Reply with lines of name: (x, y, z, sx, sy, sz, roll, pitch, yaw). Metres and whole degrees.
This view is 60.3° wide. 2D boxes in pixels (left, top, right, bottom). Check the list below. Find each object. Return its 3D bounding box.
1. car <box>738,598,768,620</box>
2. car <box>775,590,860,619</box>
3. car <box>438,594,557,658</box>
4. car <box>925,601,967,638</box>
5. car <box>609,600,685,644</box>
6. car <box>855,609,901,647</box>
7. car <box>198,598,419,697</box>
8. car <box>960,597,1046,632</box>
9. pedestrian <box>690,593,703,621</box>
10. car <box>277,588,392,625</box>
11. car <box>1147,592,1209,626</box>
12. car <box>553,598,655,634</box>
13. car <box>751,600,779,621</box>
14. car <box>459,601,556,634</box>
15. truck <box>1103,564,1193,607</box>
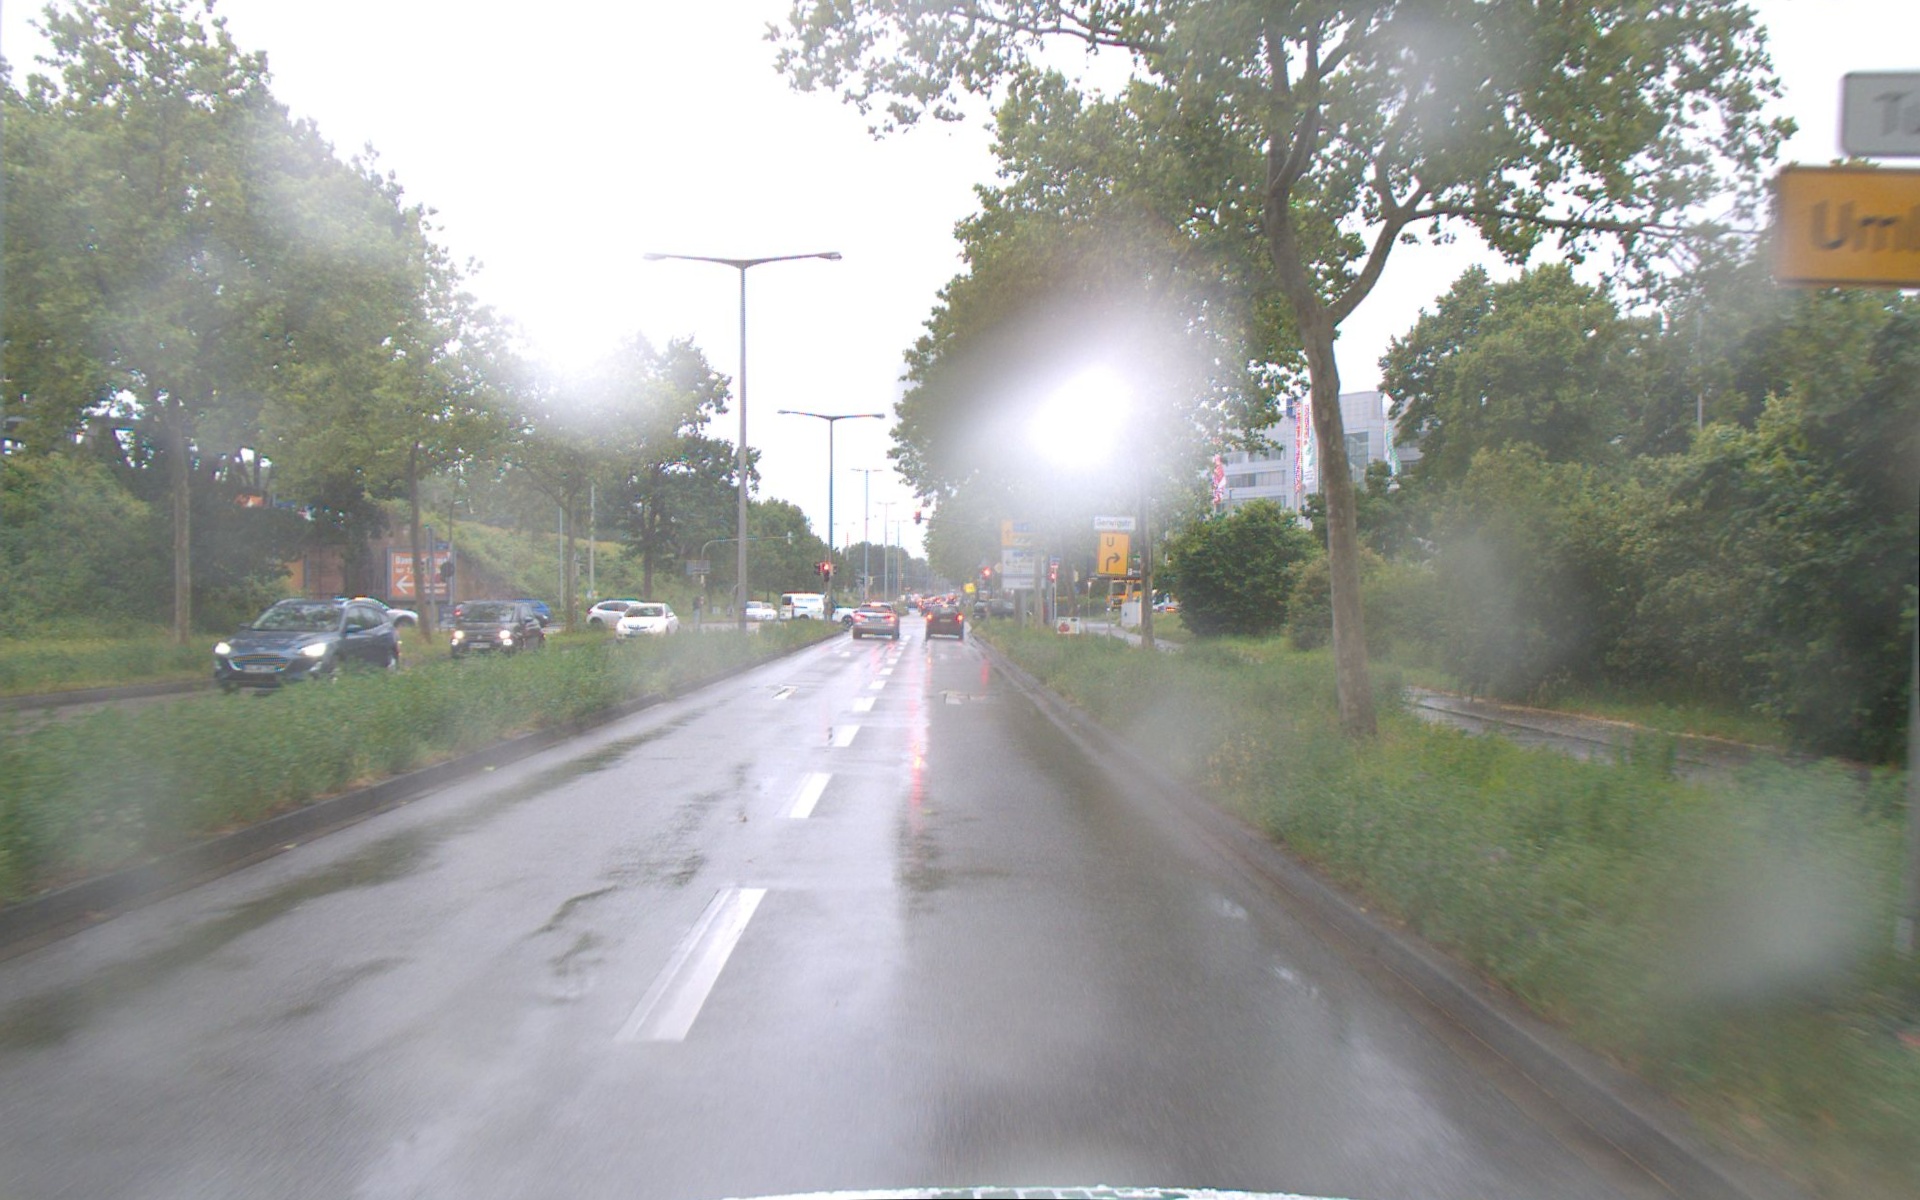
car: (-14.975, 0.669, 119.878, 1.677, 1.557, 3.999, 0, 0, -1)
car: (-7.787, 0.246, 90.314, 4.326, 1.564, 1.784, 0, 0, -30)
car: (-11.220, 0.607, 40.368, 1.892, 1.470, 3.706, 1, 0, -1)
car: (-0.640, 0.847, 73.237, 1.760, 1.564, 4.386, 2, 0, -1)
car: (-11.122, 0.770, 59.087, 1.892, 1.470, 4.656, 1, 0, -1)
car: (-3.328, 1.125, 67.634, 1.655, 1.458, 4.573, 1, 0, -1)
car: (-10.578, 0.723, 27.239, 1.892, 1.470, 4.495, 1, 0, -1)
car: (2.214, 0.728, 84.578, 4.348, 1.563, 1.776, -2, 2, -41)
pedestrian: (-17.627, 0.478, 110.687, 0.522, 1.817, 0.673, 1, -1, 17)
car: (-27.781, 0.306, 73.542, 4.417, 1.617, 1.860, 0, 0, -6)
car: (15.556, 0.612, 118.104, 4.338, 2.228, 1.779, -3, 1, -36)
car: (-16.307, 0.725, 75.692, 4.418, 1.617, 1.860, 0, 0, 28)
car: (-14.883, 0.767, 126.417, 1.677, 1.557, 3.999, 0, 0, -1)
car: (-22.366, 0.871, 81.725, 4.326, 1.564, 1.784, 1, 0, -30)
truck: (14.052, -1.012, 123.337, 6.976, 3.108, 2.611, 0, -1, -38)
